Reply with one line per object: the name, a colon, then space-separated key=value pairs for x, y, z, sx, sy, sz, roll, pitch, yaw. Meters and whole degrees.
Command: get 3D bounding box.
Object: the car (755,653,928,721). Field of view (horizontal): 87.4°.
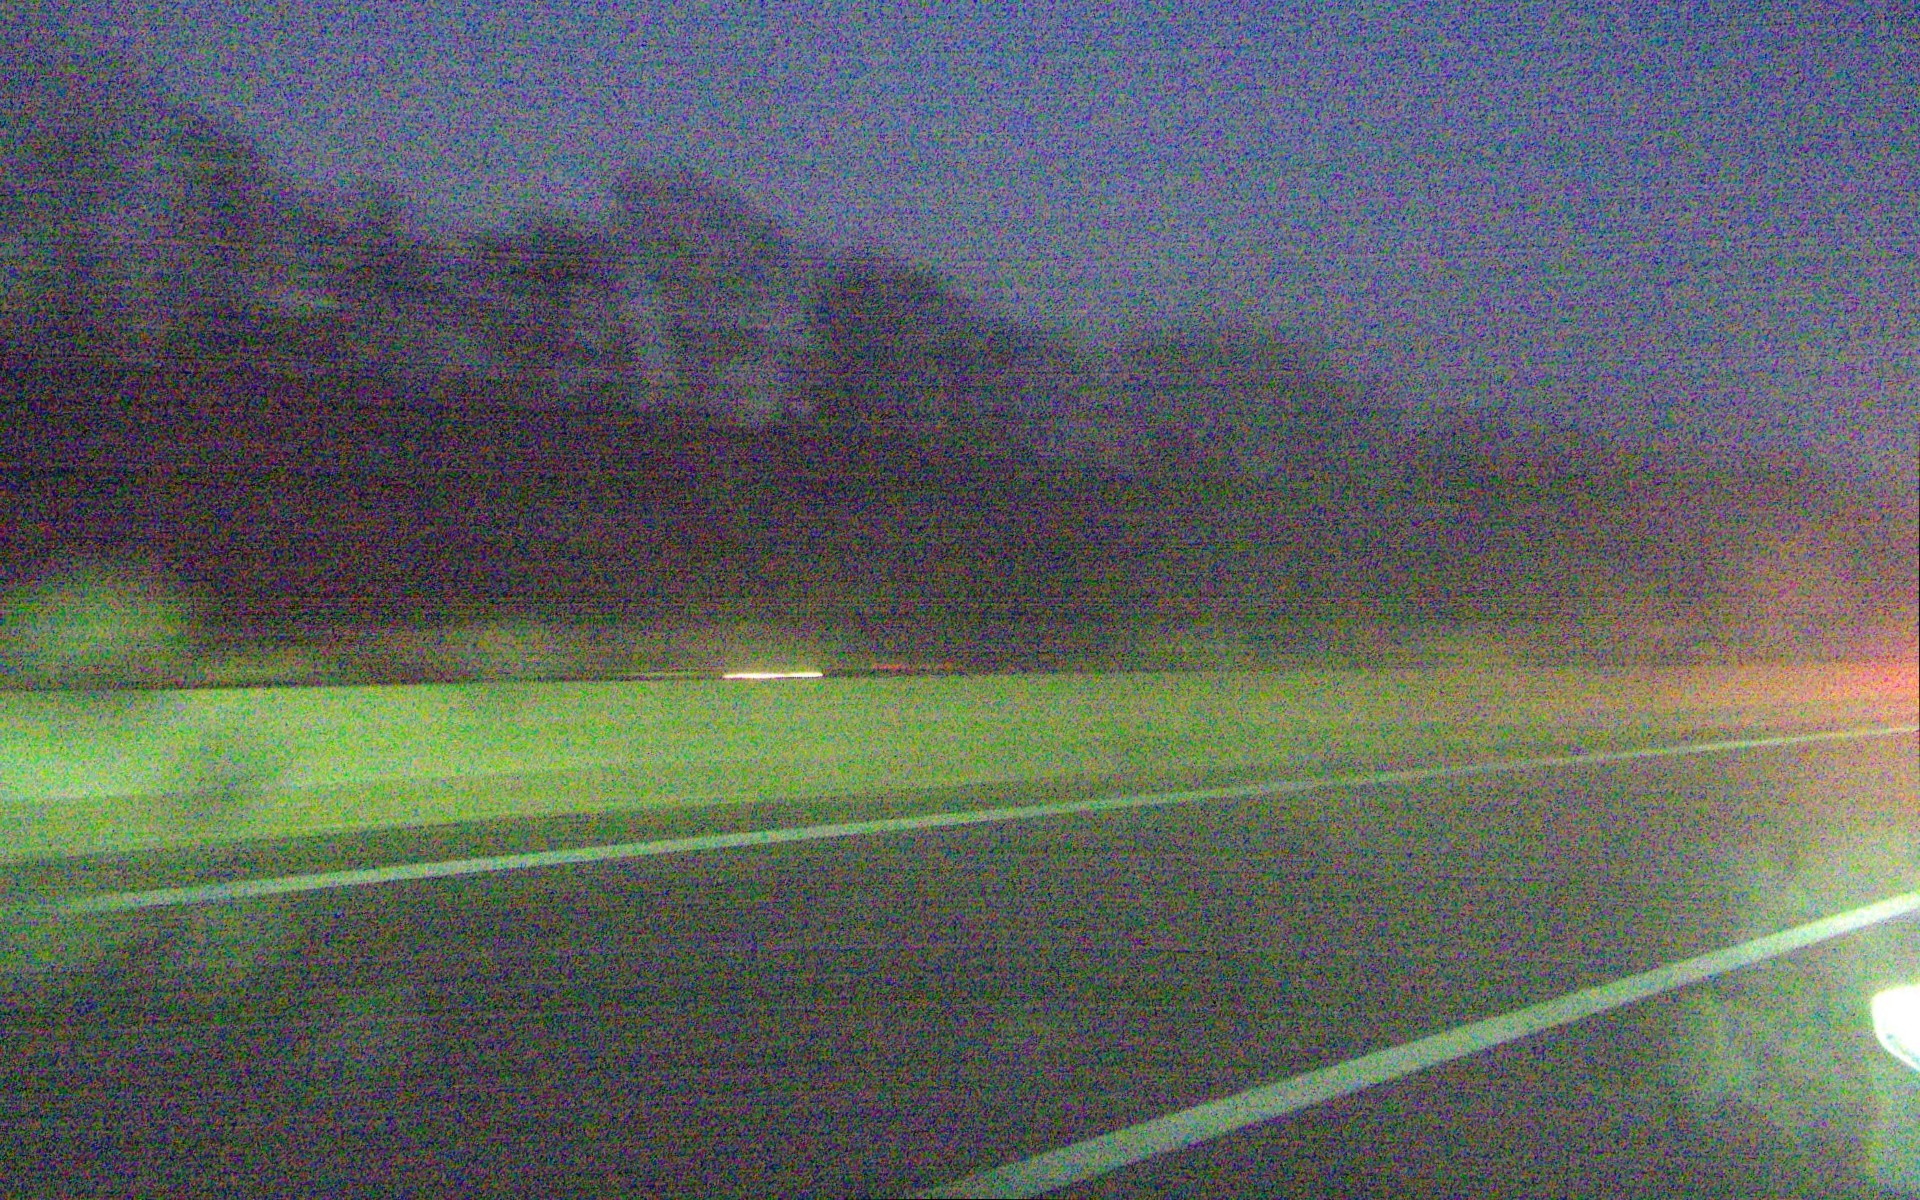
car: x=-3.040 y=2.170 z=25.797 sx=3.953 sy=1.506 sz=1.984 roll=2 pitch=0 yaw=-30
